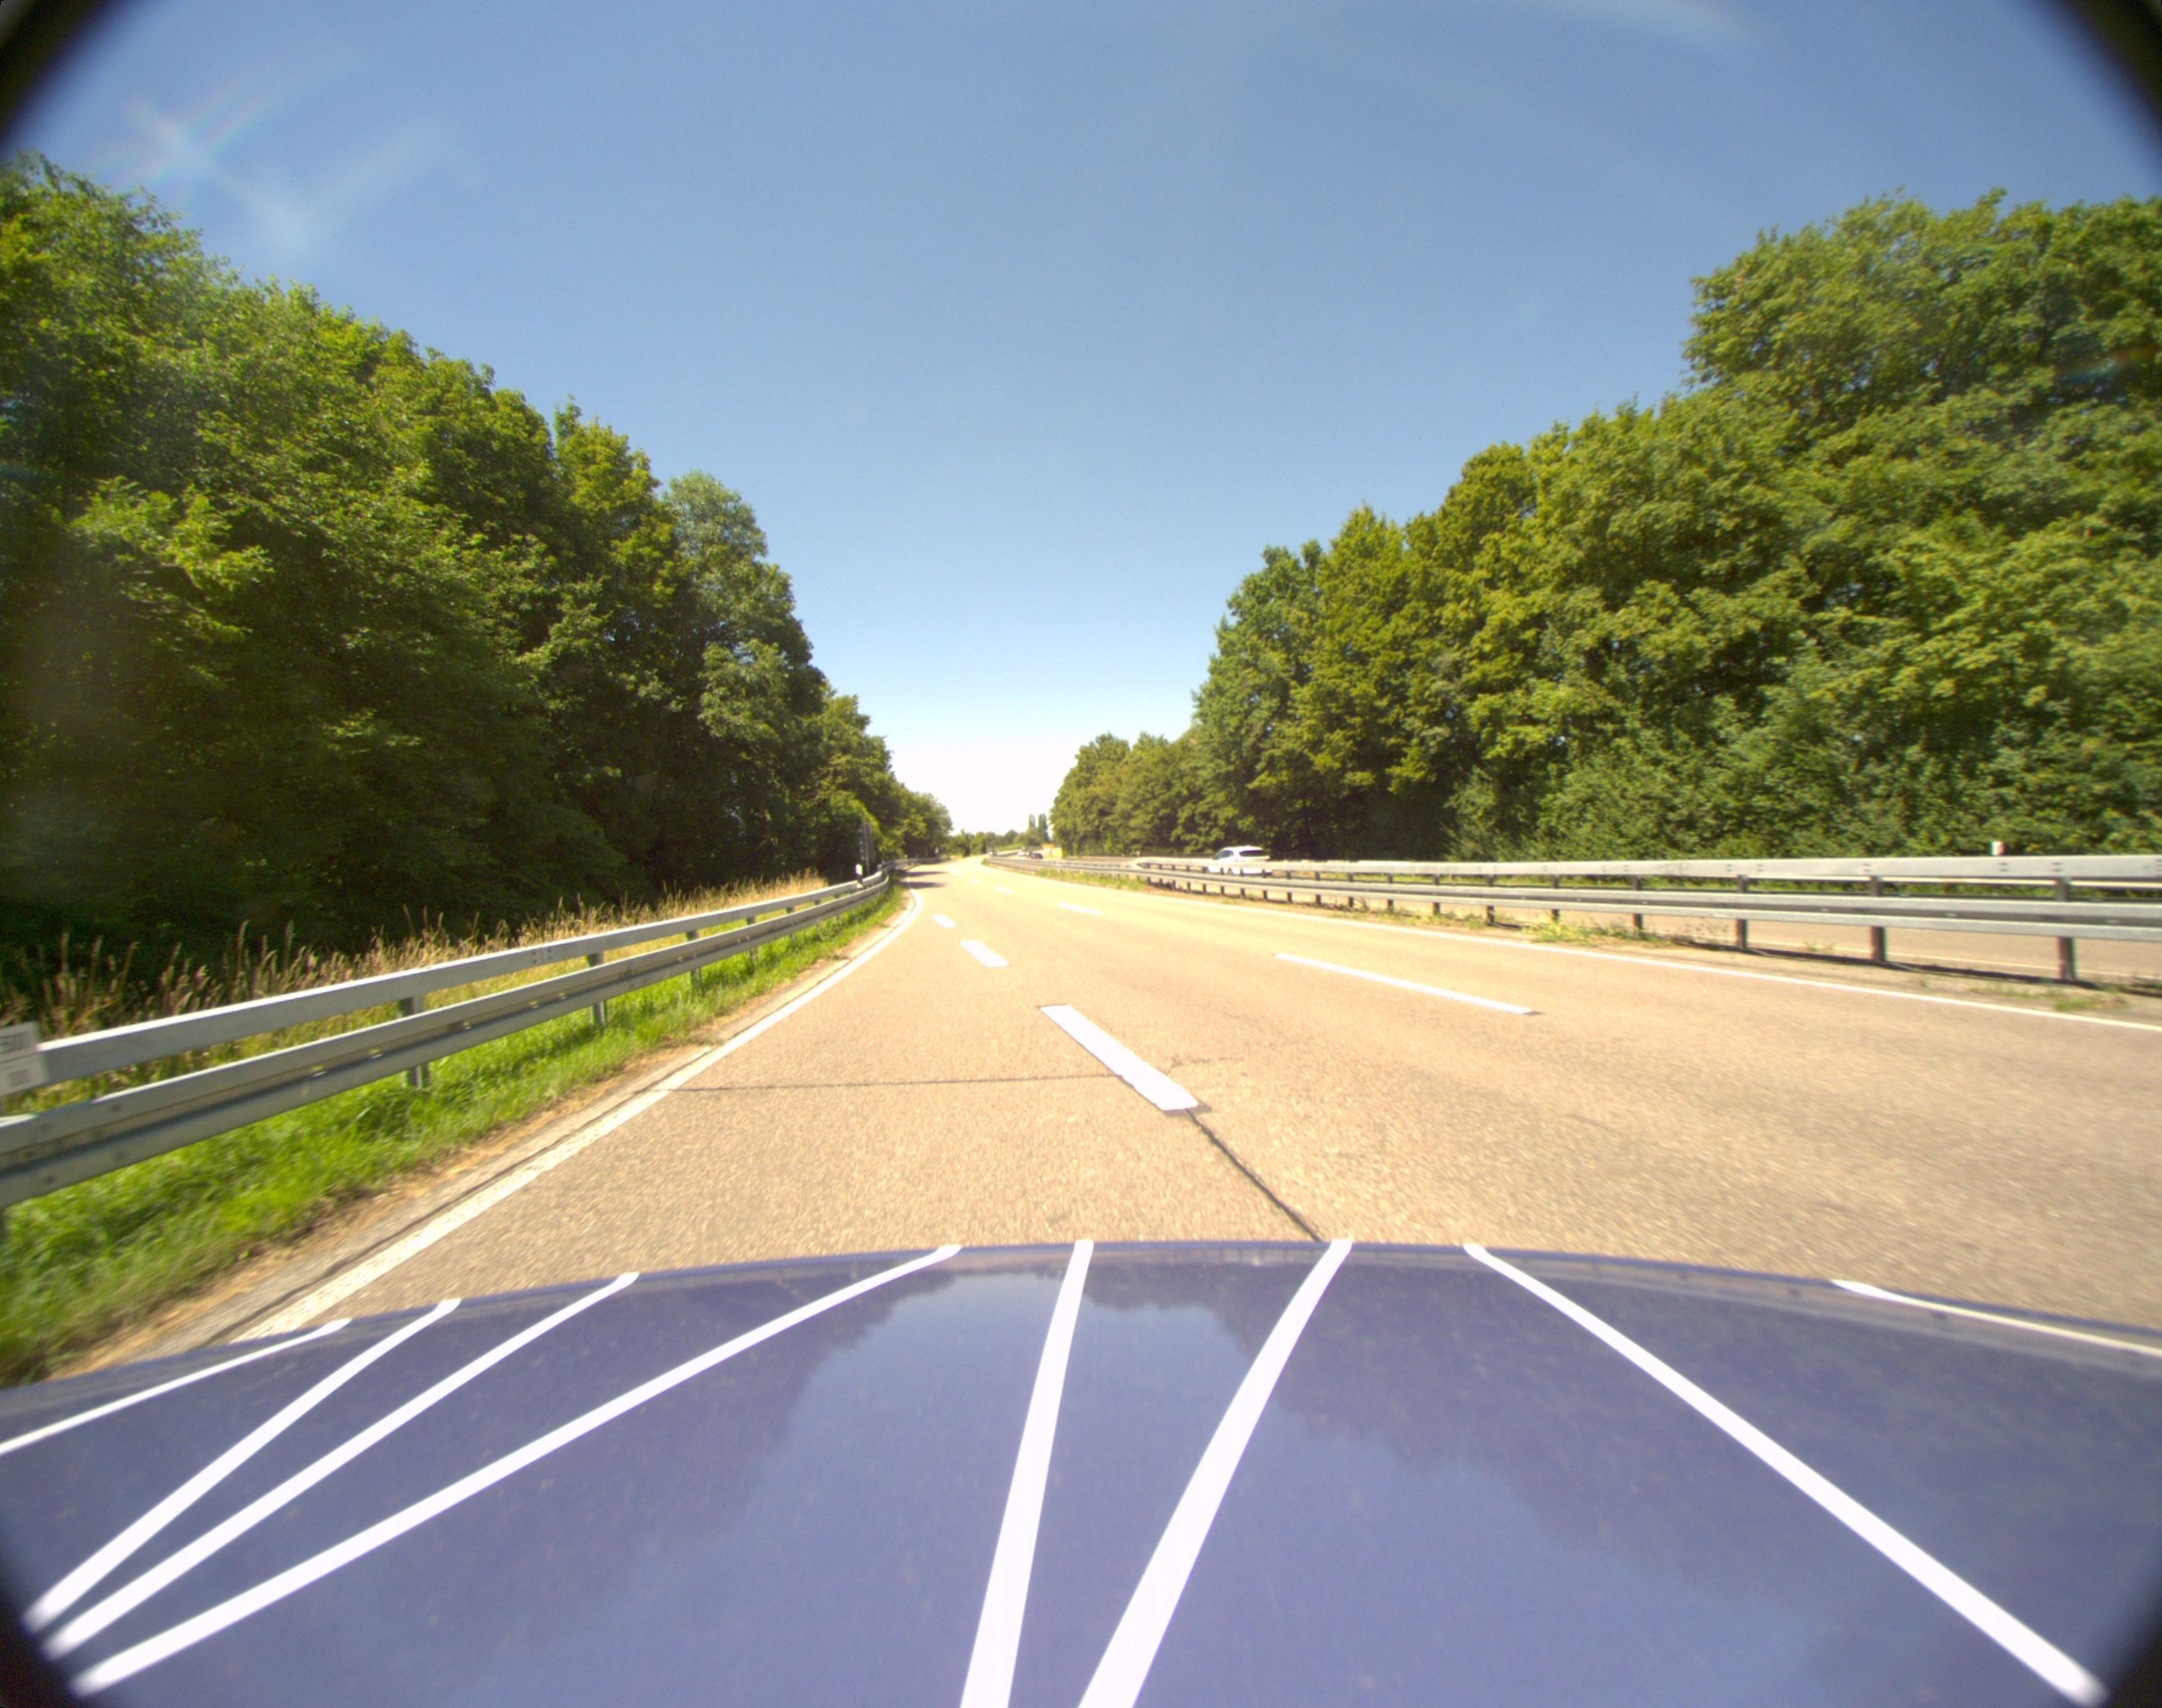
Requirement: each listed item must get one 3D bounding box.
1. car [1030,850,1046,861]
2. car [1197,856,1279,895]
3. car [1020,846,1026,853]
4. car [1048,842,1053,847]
[{"bbox_3d":[-6.501,0.178,115.156,1.762,1.519,4.679,-2,1,-11],"label":"car"},{"bbox_3d":[6.980,0.898,34.292,1.762,1.564,4.407,-2,1,-15],"label":"car"},{"bbox_3d":[-15.399,-1.186,201.963,1.656,1.597,4.218,-2,1,-3],"label":"car"},{"bbox_3d":[-10.176,-3.121,252.170,1.655,1.439,4.219,-2,1,-1],"label":"car"}]
